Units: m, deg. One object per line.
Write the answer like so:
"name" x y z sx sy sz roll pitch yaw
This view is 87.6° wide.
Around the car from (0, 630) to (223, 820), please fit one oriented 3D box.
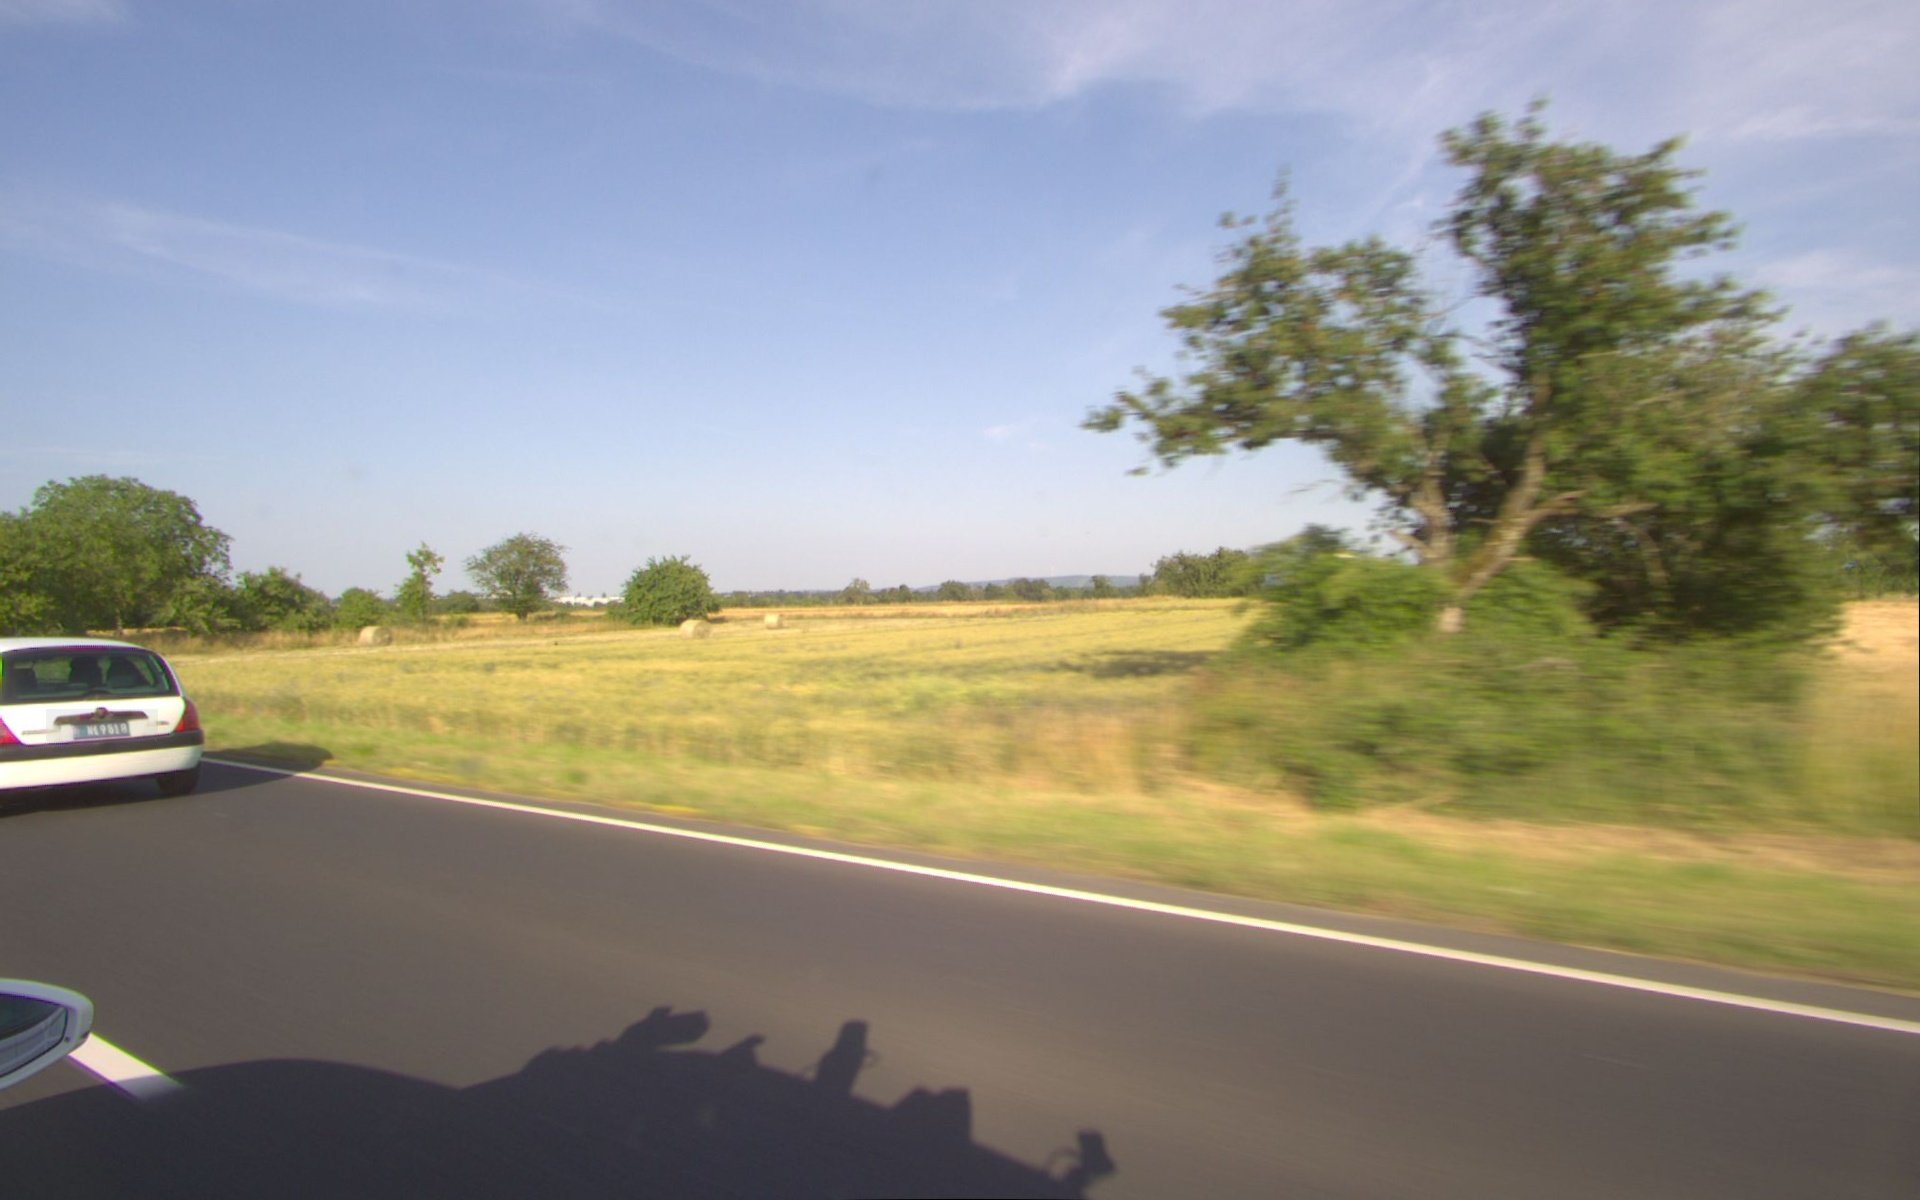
"car" -8.427 0.992 9.019 3.896 1.405 1.614 -2 -2 33
